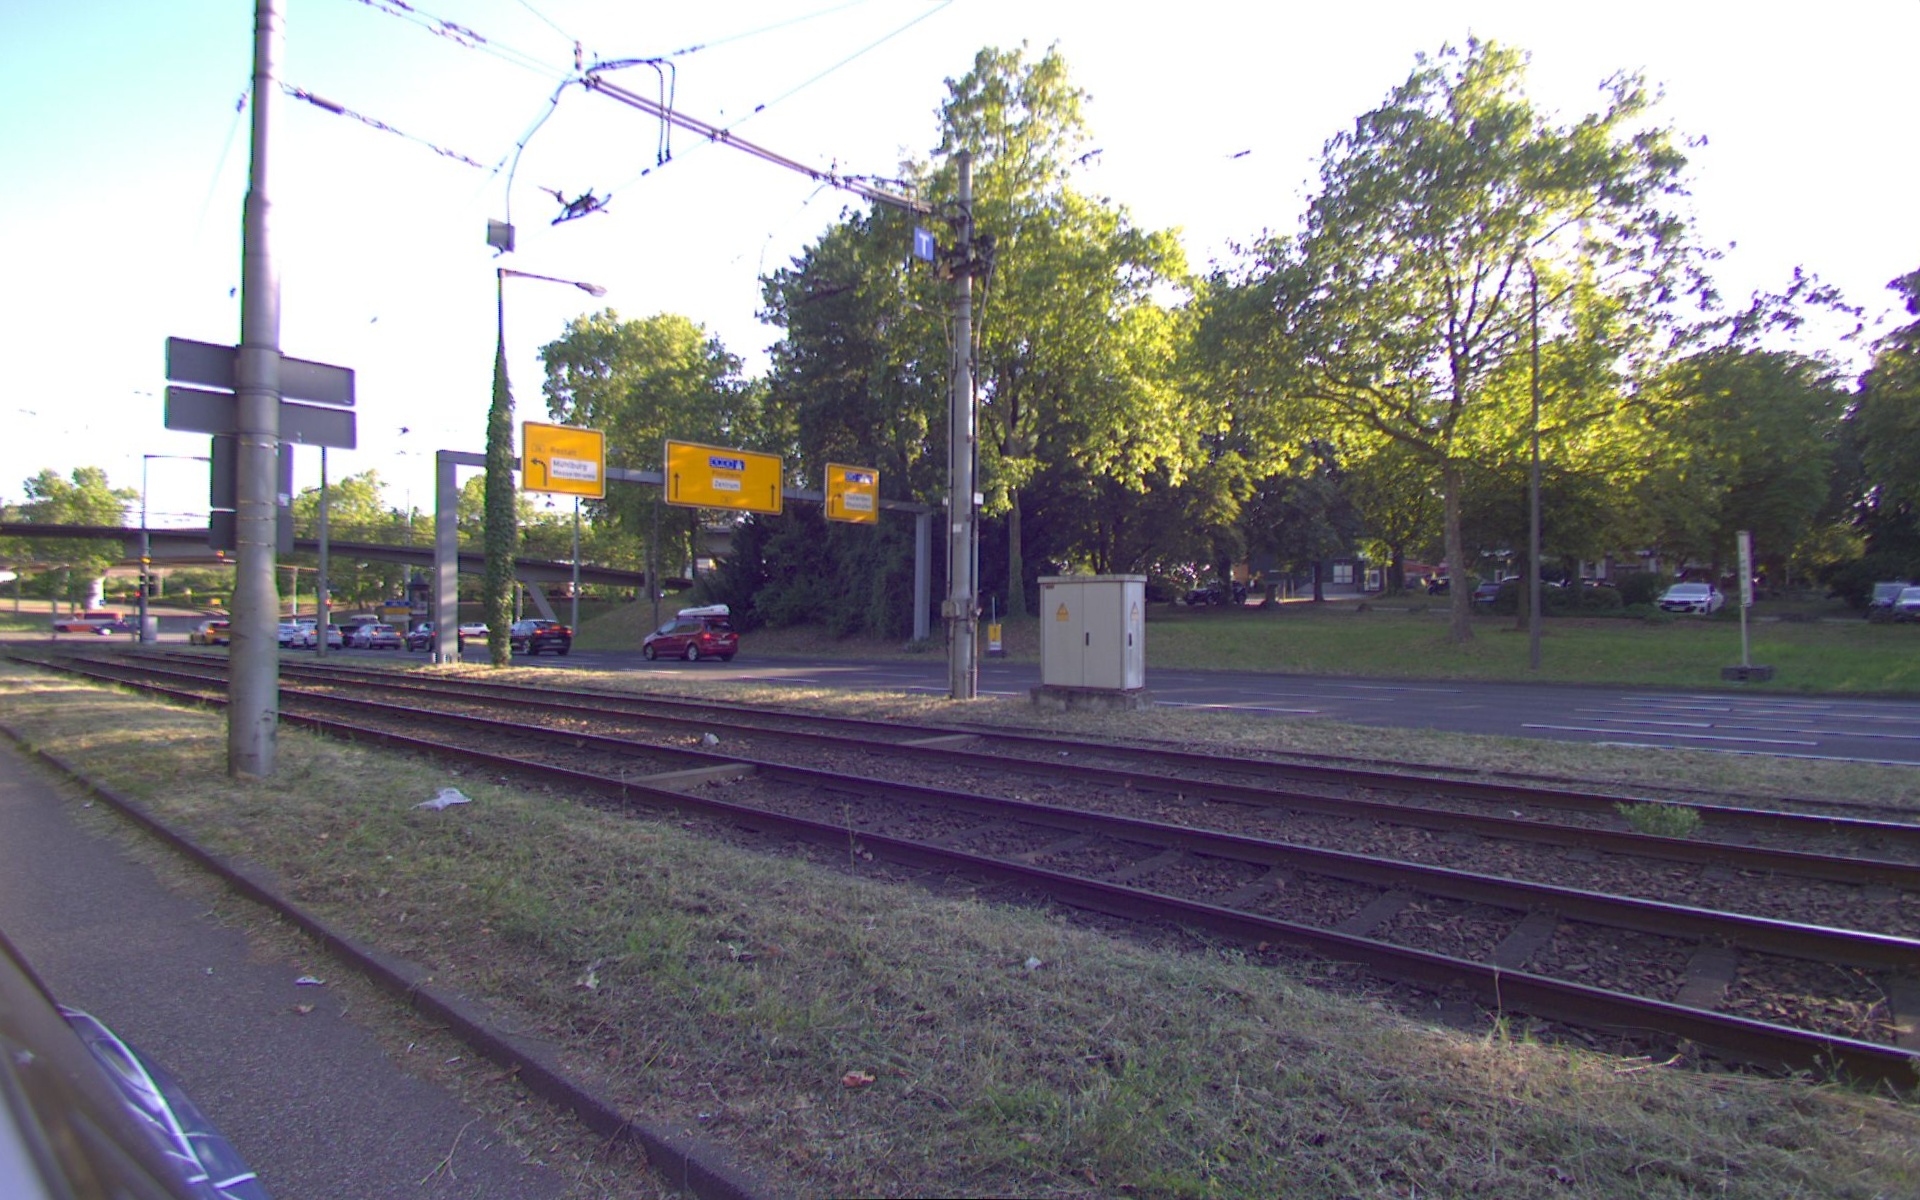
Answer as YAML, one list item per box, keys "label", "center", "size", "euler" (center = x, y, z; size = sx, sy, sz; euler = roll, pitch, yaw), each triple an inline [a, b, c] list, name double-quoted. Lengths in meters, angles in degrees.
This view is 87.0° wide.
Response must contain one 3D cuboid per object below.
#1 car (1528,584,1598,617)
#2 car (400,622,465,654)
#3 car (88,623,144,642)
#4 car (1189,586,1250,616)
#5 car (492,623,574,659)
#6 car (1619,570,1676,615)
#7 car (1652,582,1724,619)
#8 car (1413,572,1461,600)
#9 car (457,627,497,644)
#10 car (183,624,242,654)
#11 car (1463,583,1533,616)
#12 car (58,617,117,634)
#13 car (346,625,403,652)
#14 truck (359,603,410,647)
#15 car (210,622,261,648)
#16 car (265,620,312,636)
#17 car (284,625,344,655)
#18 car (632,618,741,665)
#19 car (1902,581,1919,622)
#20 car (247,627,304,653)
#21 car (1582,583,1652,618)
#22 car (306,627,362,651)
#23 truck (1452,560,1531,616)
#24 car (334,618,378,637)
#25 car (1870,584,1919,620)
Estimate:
- label: "car"
  center: [28.422, 0.006, 47.659]
  size: [1.942, 1.521, 4.039]
  euler: [0, 0, 44]
- label: "car"
  center: [-27.587, 1.971, 52.890]
  size: [3.971, 1.569, 1.733]
  euler: [-2, -3, 42]
- label: "car"
  center: [-73.707, 2.856, 88.456]
  size: [3.733, 1.510, 1.767]
  euler: [-1, 0, -40]
- label: "car"
  center: [15.391, 0.053, 59.958]
  size: [1.791, 1.657, 3.942]
  euler: [-1, -1, 44]
- label: "car"
  center: [-19.260, 1.804, 45.588]
  size: [4.332, 1.556, 1.713]
  euler: [-1, -2, 41]
- label: "car"
  center: [36.882, -0.410, 54.241]
  size: [2.161, 2.320, 4.348]
  euler: [0, 0, 40]
- label: "car"
  center: [31.558, -0.006, 43.846]
  size: [1.942, 1.521, 4.039]
  euler: [0, 0, 44]
- label: "car"
  center: [33.552, -1.006, 71.063]
  size: [2.290, 1.864, 5.214]
  euler: [-1, 1, 34]
- label: "car"
  center: [-49.863, 3.678, 104.472]
  size: [3.747, 1.591, 1.683]
  euler: [-1, 0, -26]
- label: "car"
  center: [-40.808, 2.120, 55.255]
  size: [3.997, 1.556, 1.744]
  euler: [-1, -1, 40]
- label: "car"
  center: [26.166, -0.053, 49.187]
  size: [1.942, 1.521, 4.039]
  euler: [0, 0, 44]
- label: "car"
  center: [-80.122, 2.347, 93.019]
  size: [3.810, 1.421, 1.817]
  euler: [-1, 0, -30]
- label: "car"
  center: [-34.953, 2.275, 60.402]
  size: [3.998, 1.556, 1.789]
  euler: [-1, -1, 41]
- label: "truck"
  center: [-40.307, 1.735, 70.768]
  size: [2.248, 2.901, 6.895]
  euler: [0, -1, -37]
- label: "car"
  center: [-45.842, 2.179, 64.044]
  size: [4.228, 1.561, 1.892]
  euler: [-1, -2, 44]
- label: "car"
  center: [-66.163, 2.746, 99.776]
  size: [3.728, 1.510, 1.769]
  euler: [-1, 0, -32]
- label: "car"
  center: [-35.745, 2.200, 55.956]
  size: [3.997, 1.556, 1.744]
  euler: [-1, -1, 40]
- label: "car"
  center: [-10.336, 1.535, 38.148]
  size: [4.307, 1.647, 1.819]
  euler: [-1, -2, 40]
- label: "car"
  center: [37.577, 0.027, 38.895]
  size: [1.942, 1.521, 4.039]
  euler: [0, 0, 44]
- label: "car"
  center: [-40.578, 2.331, 59.954]
  size: [4.226, 1.435, 1.893]
  euler: [-1, -1, 42]
- label: "car"
  center: [30.031, -0.002, 46.222]
  size: [1.942, 1.521, 4.039]
  euler: [0, 0, 44]
- label: "car"
  center: [-39.766, 2.459, 64.228]
  size: [4.224, 1.435, 1.844]
  euler: [-1, -1, 40]
- label: "truck"
  center: [31.739, -0.699, 60.287]
  size: [2.503, 3.191, 6.137]
  euler: [0, 0, 45]
- label: "car"
  center: [-59.981, 2.687, 100.548]
  size: [3.748, 1.740, 1.682]
  euler: [-1, 0, -29]
- label: "car"
  center: [43.965, 0.084, 47.228]
  size: [3.998, 1.628, 1.864]
  euler: [-1, 0, -43]
